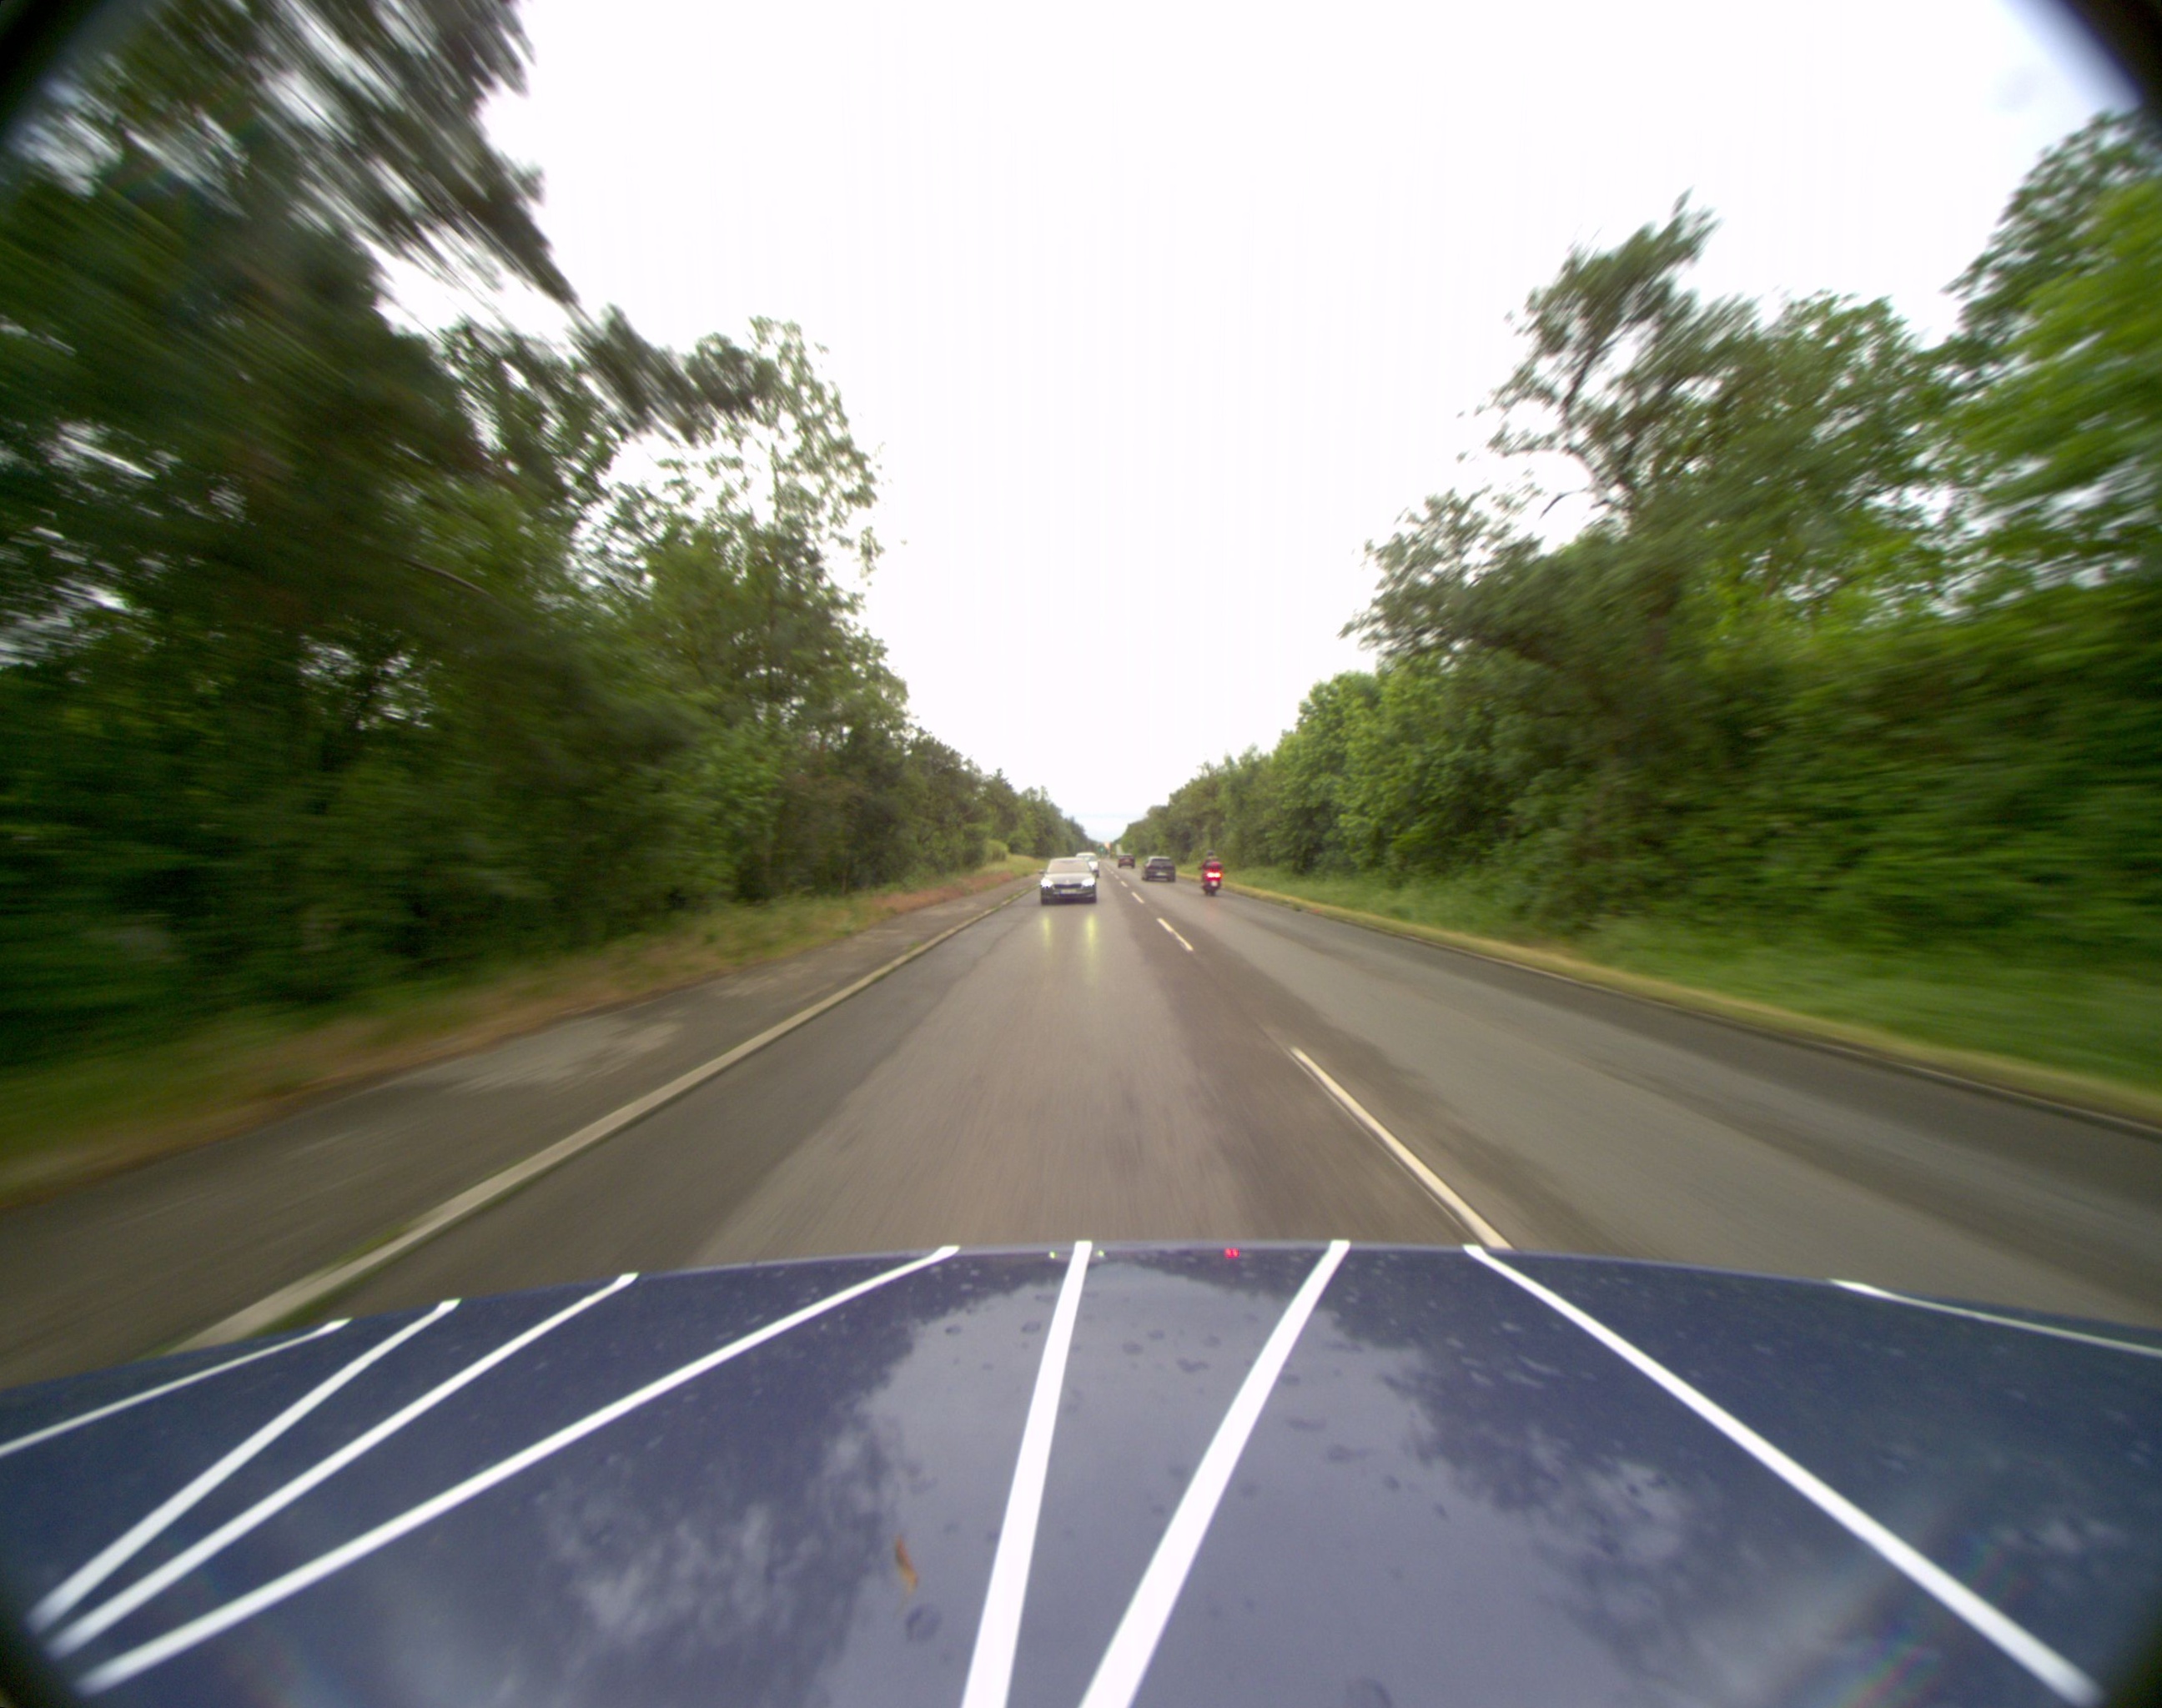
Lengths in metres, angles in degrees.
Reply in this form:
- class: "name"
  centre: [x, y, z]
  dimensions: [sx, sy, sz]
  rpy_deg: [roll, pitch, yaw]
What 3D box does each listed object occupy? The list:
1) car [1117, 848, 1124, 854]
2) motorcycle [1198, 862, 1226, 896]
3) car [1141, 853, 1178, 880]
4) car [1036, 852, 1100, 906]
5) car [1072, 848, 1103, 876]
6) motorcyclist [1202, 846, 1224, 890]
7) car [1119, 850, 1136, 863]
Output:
- class: "car"
  centre: [9.792, -0.797, 188.338]
  dimensions: [1.793, 1.465, 3.623]
  rpy_deg: [1, 1, 1]
- class: "motorcycle"
  centre: [4.986, 0.924, 28.972]
  dimensions: [0.667, 1.191, 2.101]
  rpy_deg: [1, 1, 0]
- class: "car"
  centre: [4.492, 0.683, 44.033]
  dimensions: [1.793, 1.465, 3.623]
  rpy_deg: [1, 1, 1]
- class: "car"
  centre: [-0.356, 0.768, 25.554]
  dimensions: [1.915, 1.543, 4.354]
  rpy_deg: [-2, 1, 1]
- class: "car"
  centre: [0.431, 0.520, 50.810]
  dimensions: [1.915, 1.691, 3.913]
  rpy_deg: [-2, 1, 1]
- class: "motorcyclist"
  centre: [4.949, 0.515, 28.498]
  dimensions: [0.697, 1.644, 0.667]
  rpy_deg: [-1, 1, 1]
- class: "car"
  centre: [5.313, 0.269, 86.766]
  dimensions: [1.793, 1.465, 3.623]
  rpy_deg: [1, 1, 1]
